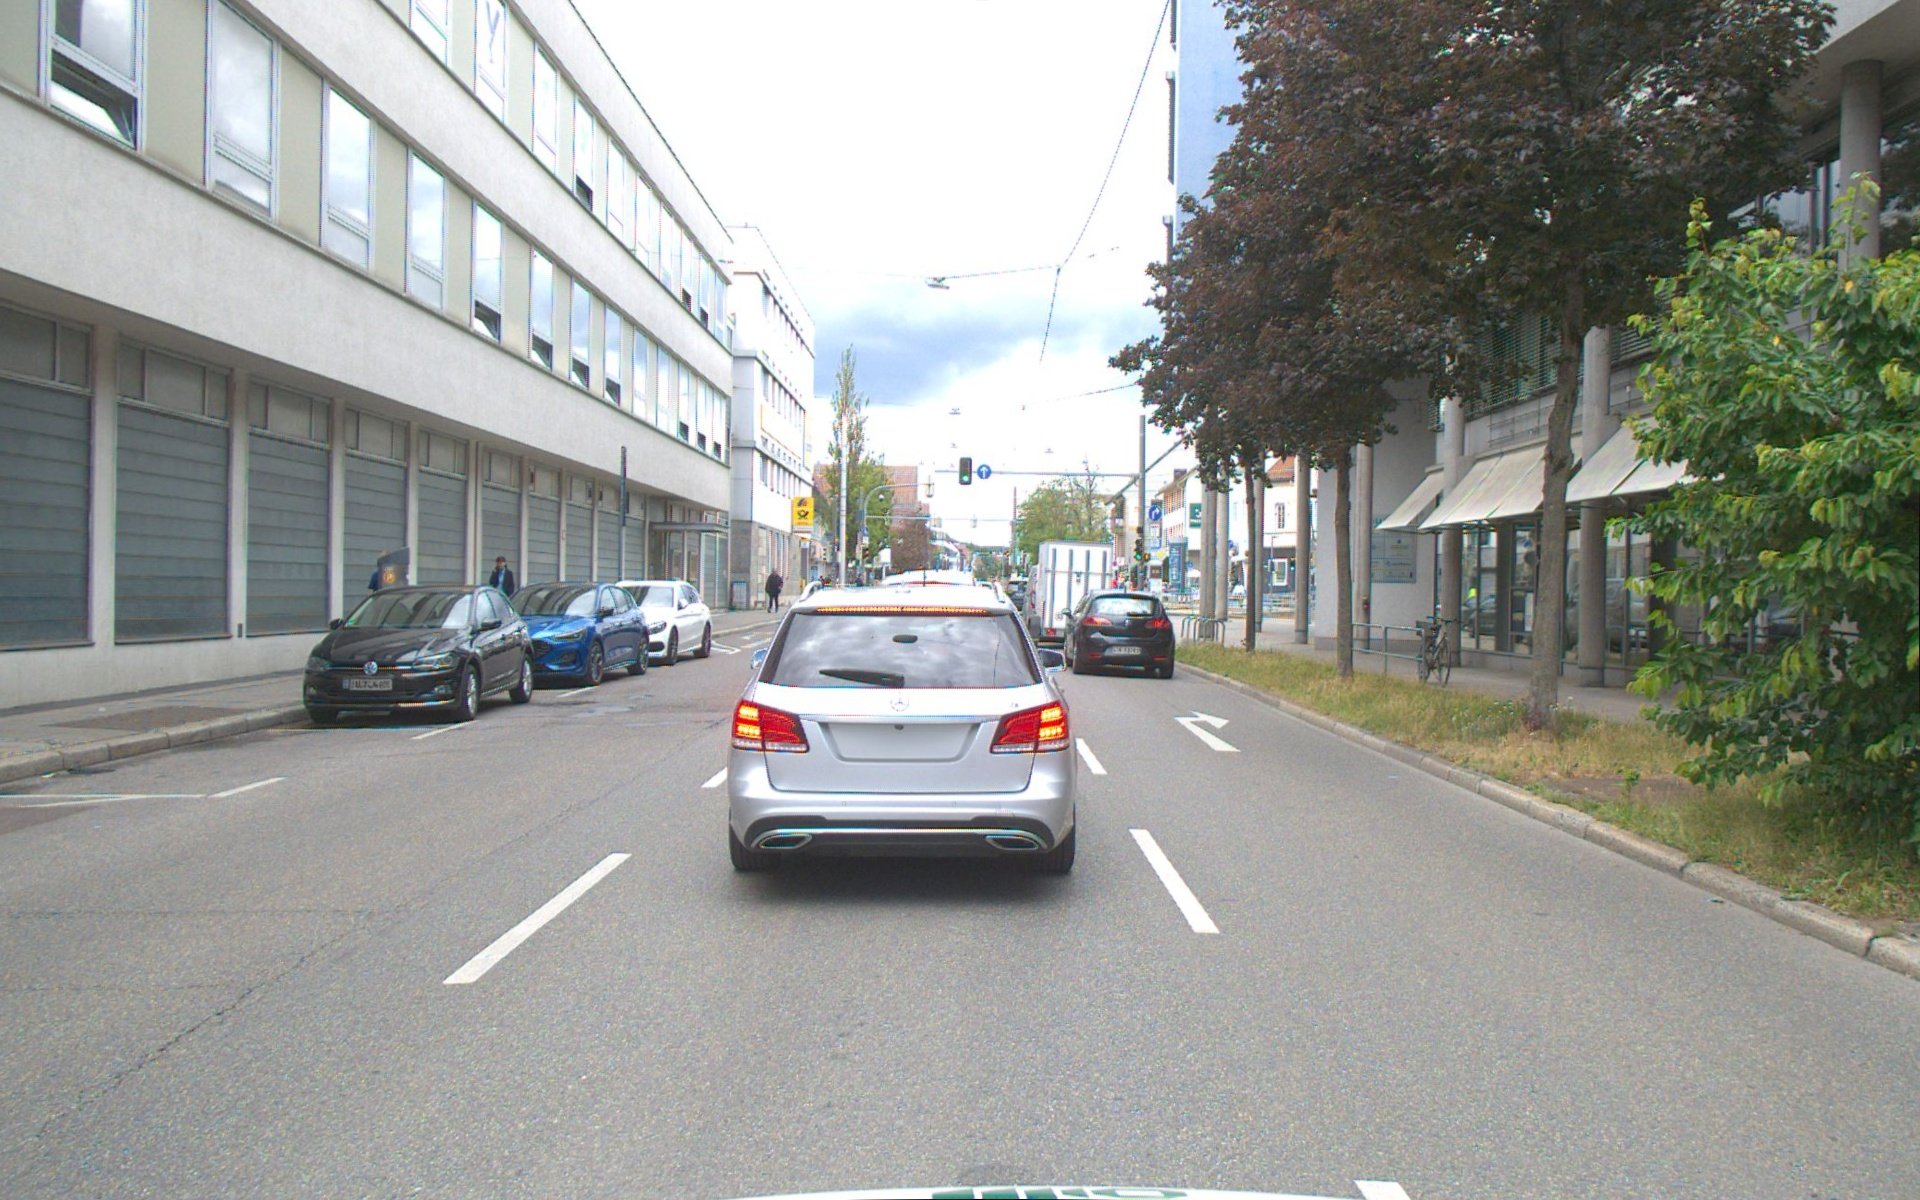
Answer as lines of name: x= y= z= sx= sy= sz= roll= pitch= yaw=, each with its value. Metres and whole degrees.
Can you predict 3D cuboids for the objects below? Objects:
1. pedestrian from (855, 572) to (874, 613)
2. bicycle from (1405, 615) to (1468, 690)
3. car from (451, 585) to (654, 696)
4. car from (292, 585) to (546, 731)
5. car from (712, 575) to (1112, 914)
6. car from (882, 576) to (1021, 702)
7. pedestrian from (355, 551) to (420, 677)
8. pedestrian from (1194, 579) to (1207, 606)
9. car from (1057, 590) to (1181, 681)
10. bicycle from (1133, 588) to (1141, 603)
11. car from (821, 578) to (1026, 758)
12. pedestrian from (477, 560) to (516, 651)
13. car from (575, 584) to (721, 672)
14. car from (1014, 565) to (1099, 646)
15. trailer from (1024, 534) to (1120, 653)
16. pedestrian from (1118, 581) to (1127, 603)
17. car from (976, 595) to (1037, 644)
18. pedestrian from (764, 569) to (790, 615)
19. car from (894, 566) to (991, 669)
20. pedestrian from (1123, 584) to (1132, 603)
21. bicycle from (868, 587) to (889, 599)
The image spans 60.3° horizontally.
pedestrian: x=-4.194 y=-0.329 z=72.761 sx=0.634 sy=1.748 sz=0.783 roll=2 pitch=1 yaw=8
bicycle: x=7.659 y=0.825 z=26.664 sx=0.353 sy=1.105 sz=2.027 roll=2 pitch=0 yaw=-1
car: x=-5.885 y=0.527 z=24.419 sx=1.777 sy=1.450 sz=4.265 roll=-1 pitch=1 yaw=2
car: x=-6.016 y=0.576 z=18.845 sx=1.681 sy=1.450 sz=3.869 roll=-1 pitch=1 yaw=-2
car: x=-0.265 y=0.638 z=9.624 sx=1.808 sy=1.534 sz=4.170 roll=1 pitch=1 yaw=-1
car: x=-0.154 y=0.457 z=22.323 sx=1.699 sy=1.534 sz=3.999 roll=1 pitch=1 yaw=-1
pedestrian: x=-8.135 y=0.189 z=23.532 sx=0.577 sy=1.748 sz=1.055 roll=0 pitch=0 yaw=-1
pedestrian: x=15.692 y=-0.470 z=107.722 sx=0.635 sy=1.748 sz=0.704 roll=1 pitch=0 yaw=26
car: x=2.728 y=0.564 z=29.132 sx=1.699 sy=1.435 sz=3.999 roll=0 pitch=1 yaw=-1
bicycle: x=13.891 y=-0.353 z=130.146 sx=0.438 sy=1.110 sz=2.150 roll=1 pitch=0 yaw=1
car: x=-0.243 y=0.577 z=16.438 sx=1.698 sy=1.534 sz=4.002 roll=1 pitch=0 yaw=3
pedestrian: x=-9.009 y=0.109 z=32.164 sx=0.577 sy=1.748 sz=0.649 roll=0 pitch=0 yaw=-2
car: x=-5.651 y=0.457 z=30.449 sx=1.635 sy=1.459 sz=4.554 roll=-1 pitch=1 yaw=2
car: x=2.578 y=0.110 z=45.180 sx=1.840 sy=1.979 sz=4.905 roll=3 pitch=1 yaw=-1
trailer: x=2.686 y=-0.180 z=40.559 sx=1.840 sy=2.658 sz=4.322 roll=3 pitch=0 yaw=-1
pedestrian: x=12.987 y=-0.622 z=132.282 sx=0.566 sy=1.695 sz=0.651 roll=2 pitch=0 yaw=-2
car: x=1.424 y=0.584 z=52.235 sx=1.699 sy=1.435 sz=3.999 roll=0 pitch=1 yaw=-1
pedestrian: x=-7.071 y=-0.310 z=63.875 sx=0.844 sy=1.748 sz=1.031 roll=2 pitch=0 yaw=-2
car: x=-0.351 y=0.287 z=31.102 sx=1.699 sy=1.789 sz=3.999 roll=1 pitch=1 yaw=-1
pedestrian: x=13.079 y=-0.511 z=129.384 sx=0.566 sy=1.495 sz=0.651 roll=2 pitch=0 yaw=-2
bicycle: x=-7.663 y=-0.639 z=155.715 sx=1.902 sy=1.047 sz=0.529 roll=2 pitch=0 yaw=-9
